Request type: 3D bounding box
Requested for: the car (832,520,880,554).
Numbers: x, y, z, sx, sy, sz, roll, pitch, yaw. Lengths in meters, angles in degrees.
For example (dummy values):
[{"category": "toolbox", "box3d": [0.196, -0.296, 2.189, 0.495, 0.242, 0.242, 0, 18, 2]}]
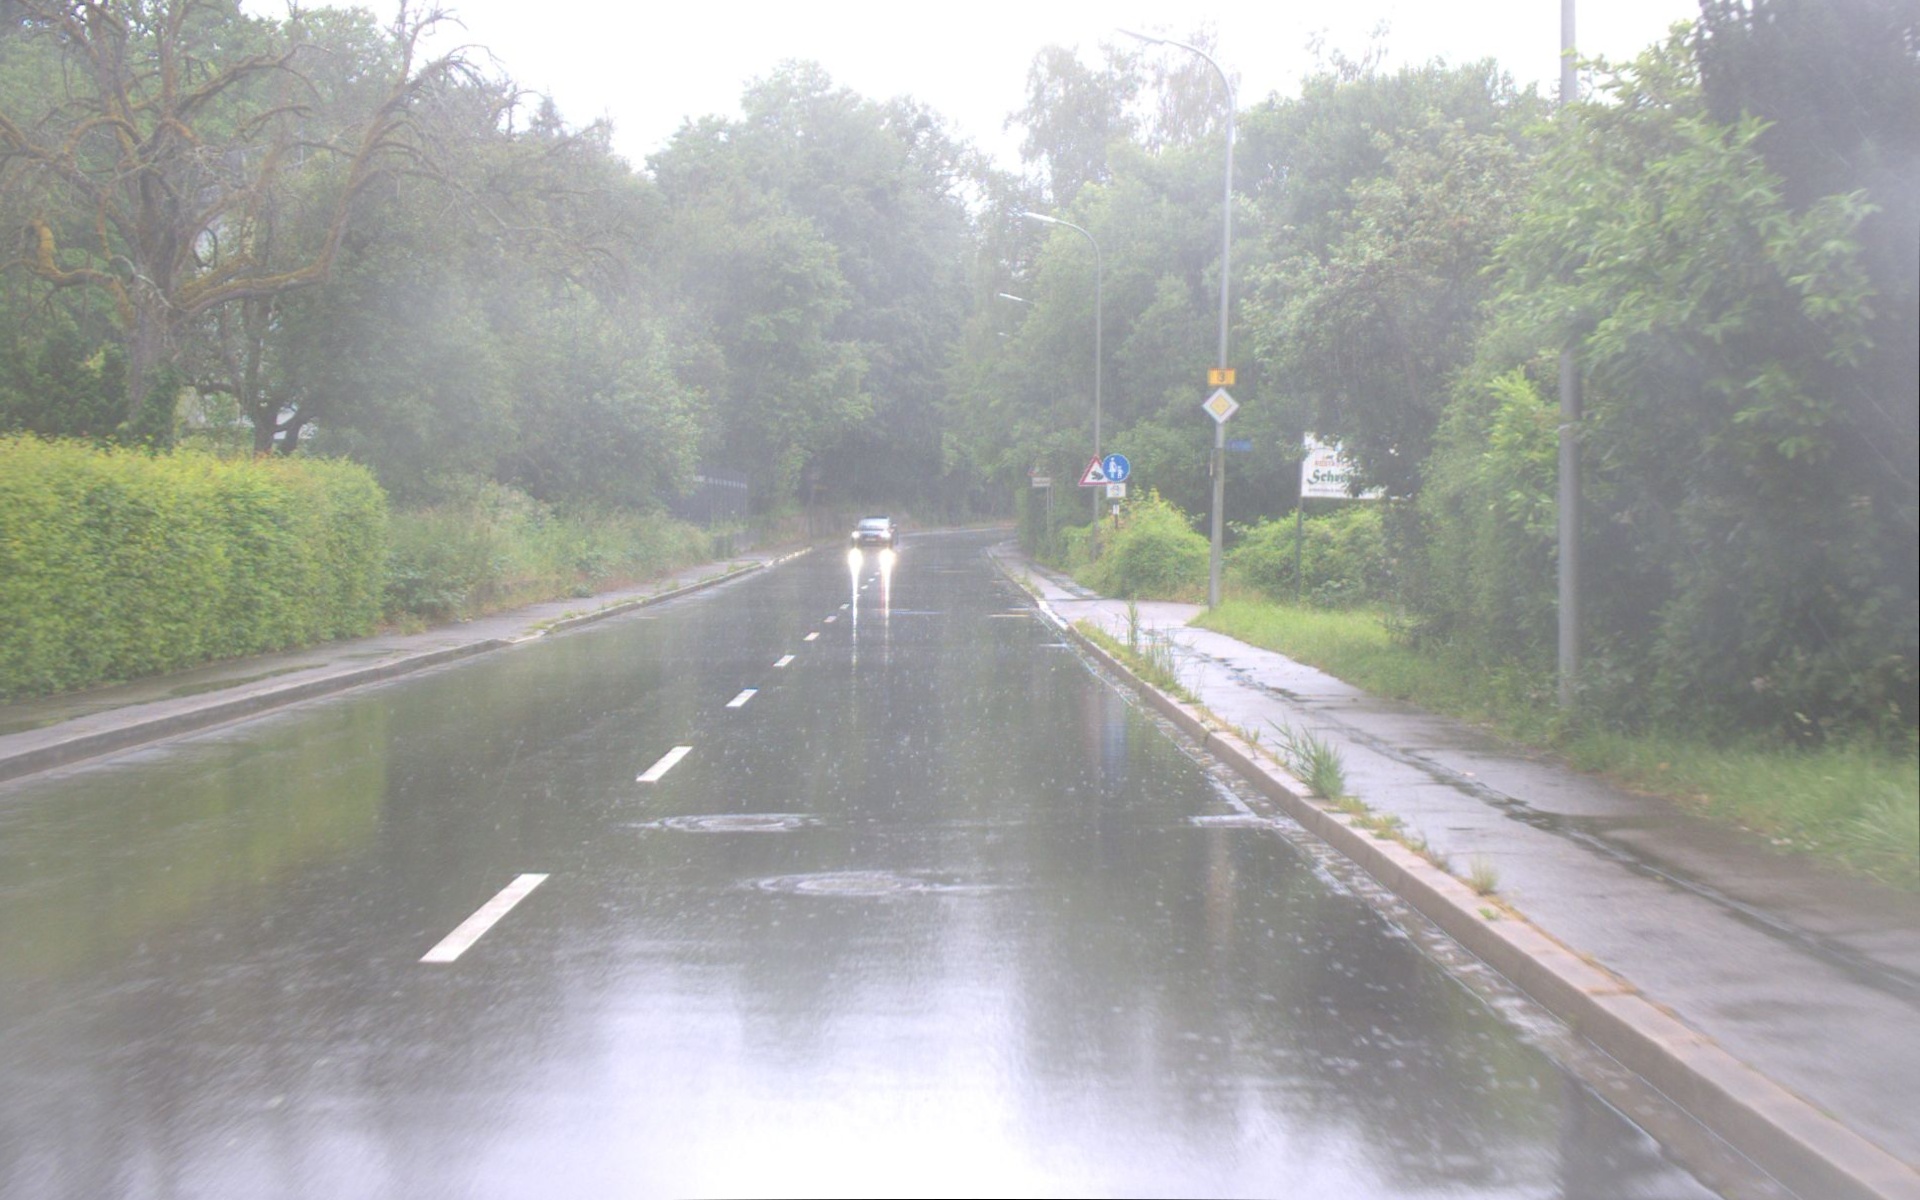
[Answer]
[{"category": "car", "box3d": [-4.682, -2.849, 155.101, 1.993, 1.449, 4.428, 1, 2, 0]}]
